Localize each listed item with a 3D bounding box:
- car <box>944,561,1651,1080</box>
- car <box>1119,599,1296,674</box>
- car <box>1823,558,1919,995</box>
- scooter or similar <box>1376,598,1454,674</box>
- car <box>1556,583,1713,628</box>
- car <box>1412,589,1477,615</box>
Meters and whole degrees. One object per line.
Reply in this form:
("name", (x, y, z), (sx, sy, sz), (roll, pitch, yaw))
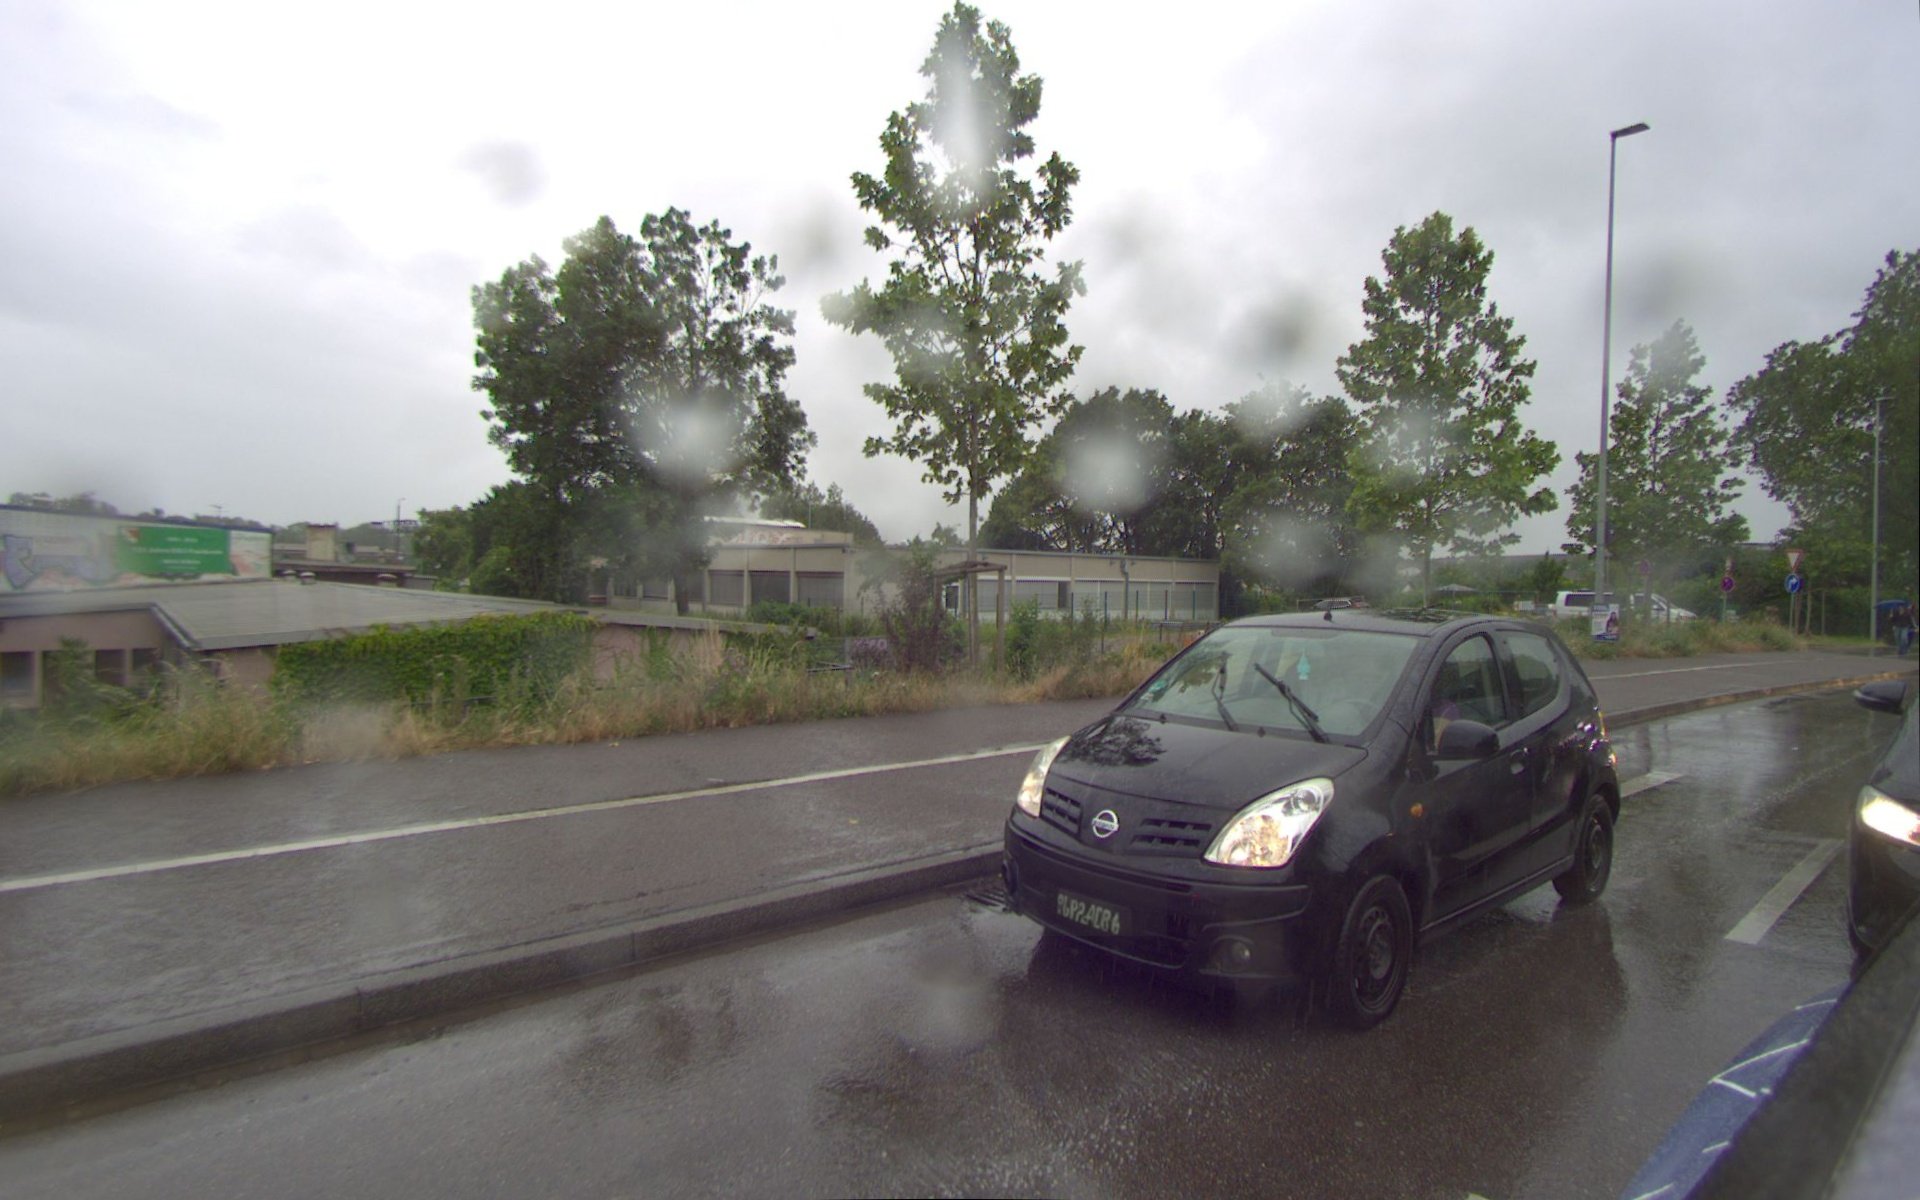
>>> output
("car", (1.784, 0.649, 4.745), (3.554, 1.528, 1.556), (0, 0, -41))
("car", (4.688, 0.640, 19.494), (1.319, 1.304, 3.246), (0, 0, -35))
("car", (5.534, 0.673, 4.408), (4.089, 1.601, 1.760), (1, 0, -35))
("scooter or similar", (7.669, 0.582, 17.010), (1.877, 1.214, 0.367), (0, 0, -38))
("car", (28.196, 0.216, 42.459), (1.972, 1.747, 5.168), (0, 0, -42))
("car", (30.935, 0.134, 64.686), (1.319, 1.604, 3.555), (0, 0, -35))
